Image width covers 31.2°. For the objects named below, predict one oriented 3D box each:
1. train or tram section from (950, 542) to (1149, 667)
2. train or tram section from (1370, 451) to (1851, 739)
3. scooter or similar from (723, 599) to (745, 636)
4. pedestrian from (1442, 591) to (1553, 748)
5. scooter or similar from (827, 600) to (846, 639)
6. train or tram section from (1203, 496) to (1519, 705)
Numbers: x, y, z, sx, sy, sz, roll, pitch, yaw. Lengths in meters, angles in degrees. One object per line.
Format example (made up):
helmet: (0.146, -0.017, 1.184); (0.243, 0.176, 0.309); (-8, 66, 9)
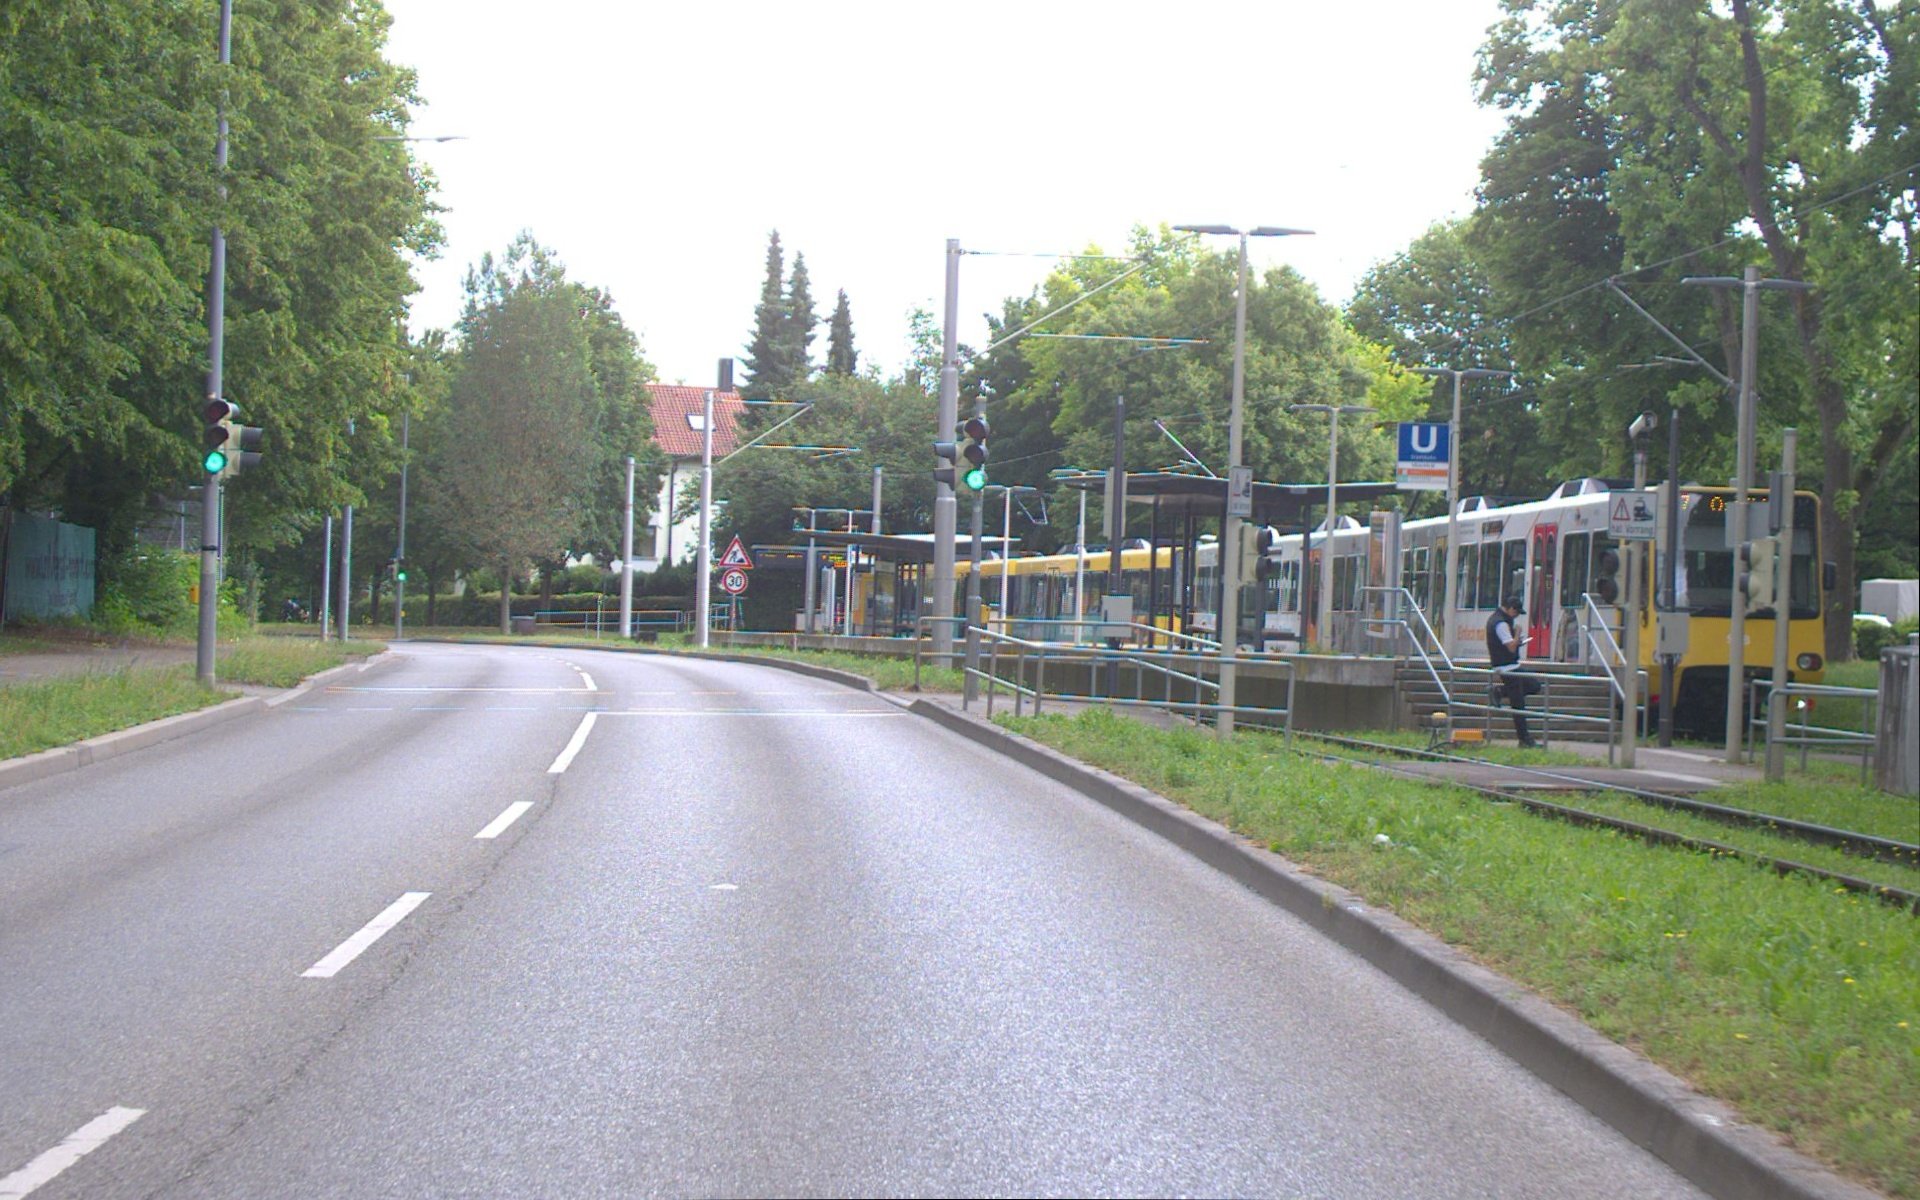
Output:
train or tram section: (2.645, 0.174, 111.998); (2.812, 3.577, 19.517); (3, -1, -9)
train or tram section: (9.818, 0.002, 55.267); (2.813, 3.724, 18.533); (3, -1, -4)
scooter or similar: (-7.891, 0.613, 119.818); (0.429, 1.249, 1.255); (1, -2, -21)
pedestrian: (6.235, 0.801, 39.916); (0.983, 1.752, 0.730); (3, 0, -14)
scooter or similar: (-3.961, 0.626, 110.211); (0.368, 1.238, 1.146); (1, -1, -12)
train or tram section: (8.203, 0.076, 74.034); (2.813, 3.786, 18.935); (3, -1, -5)
